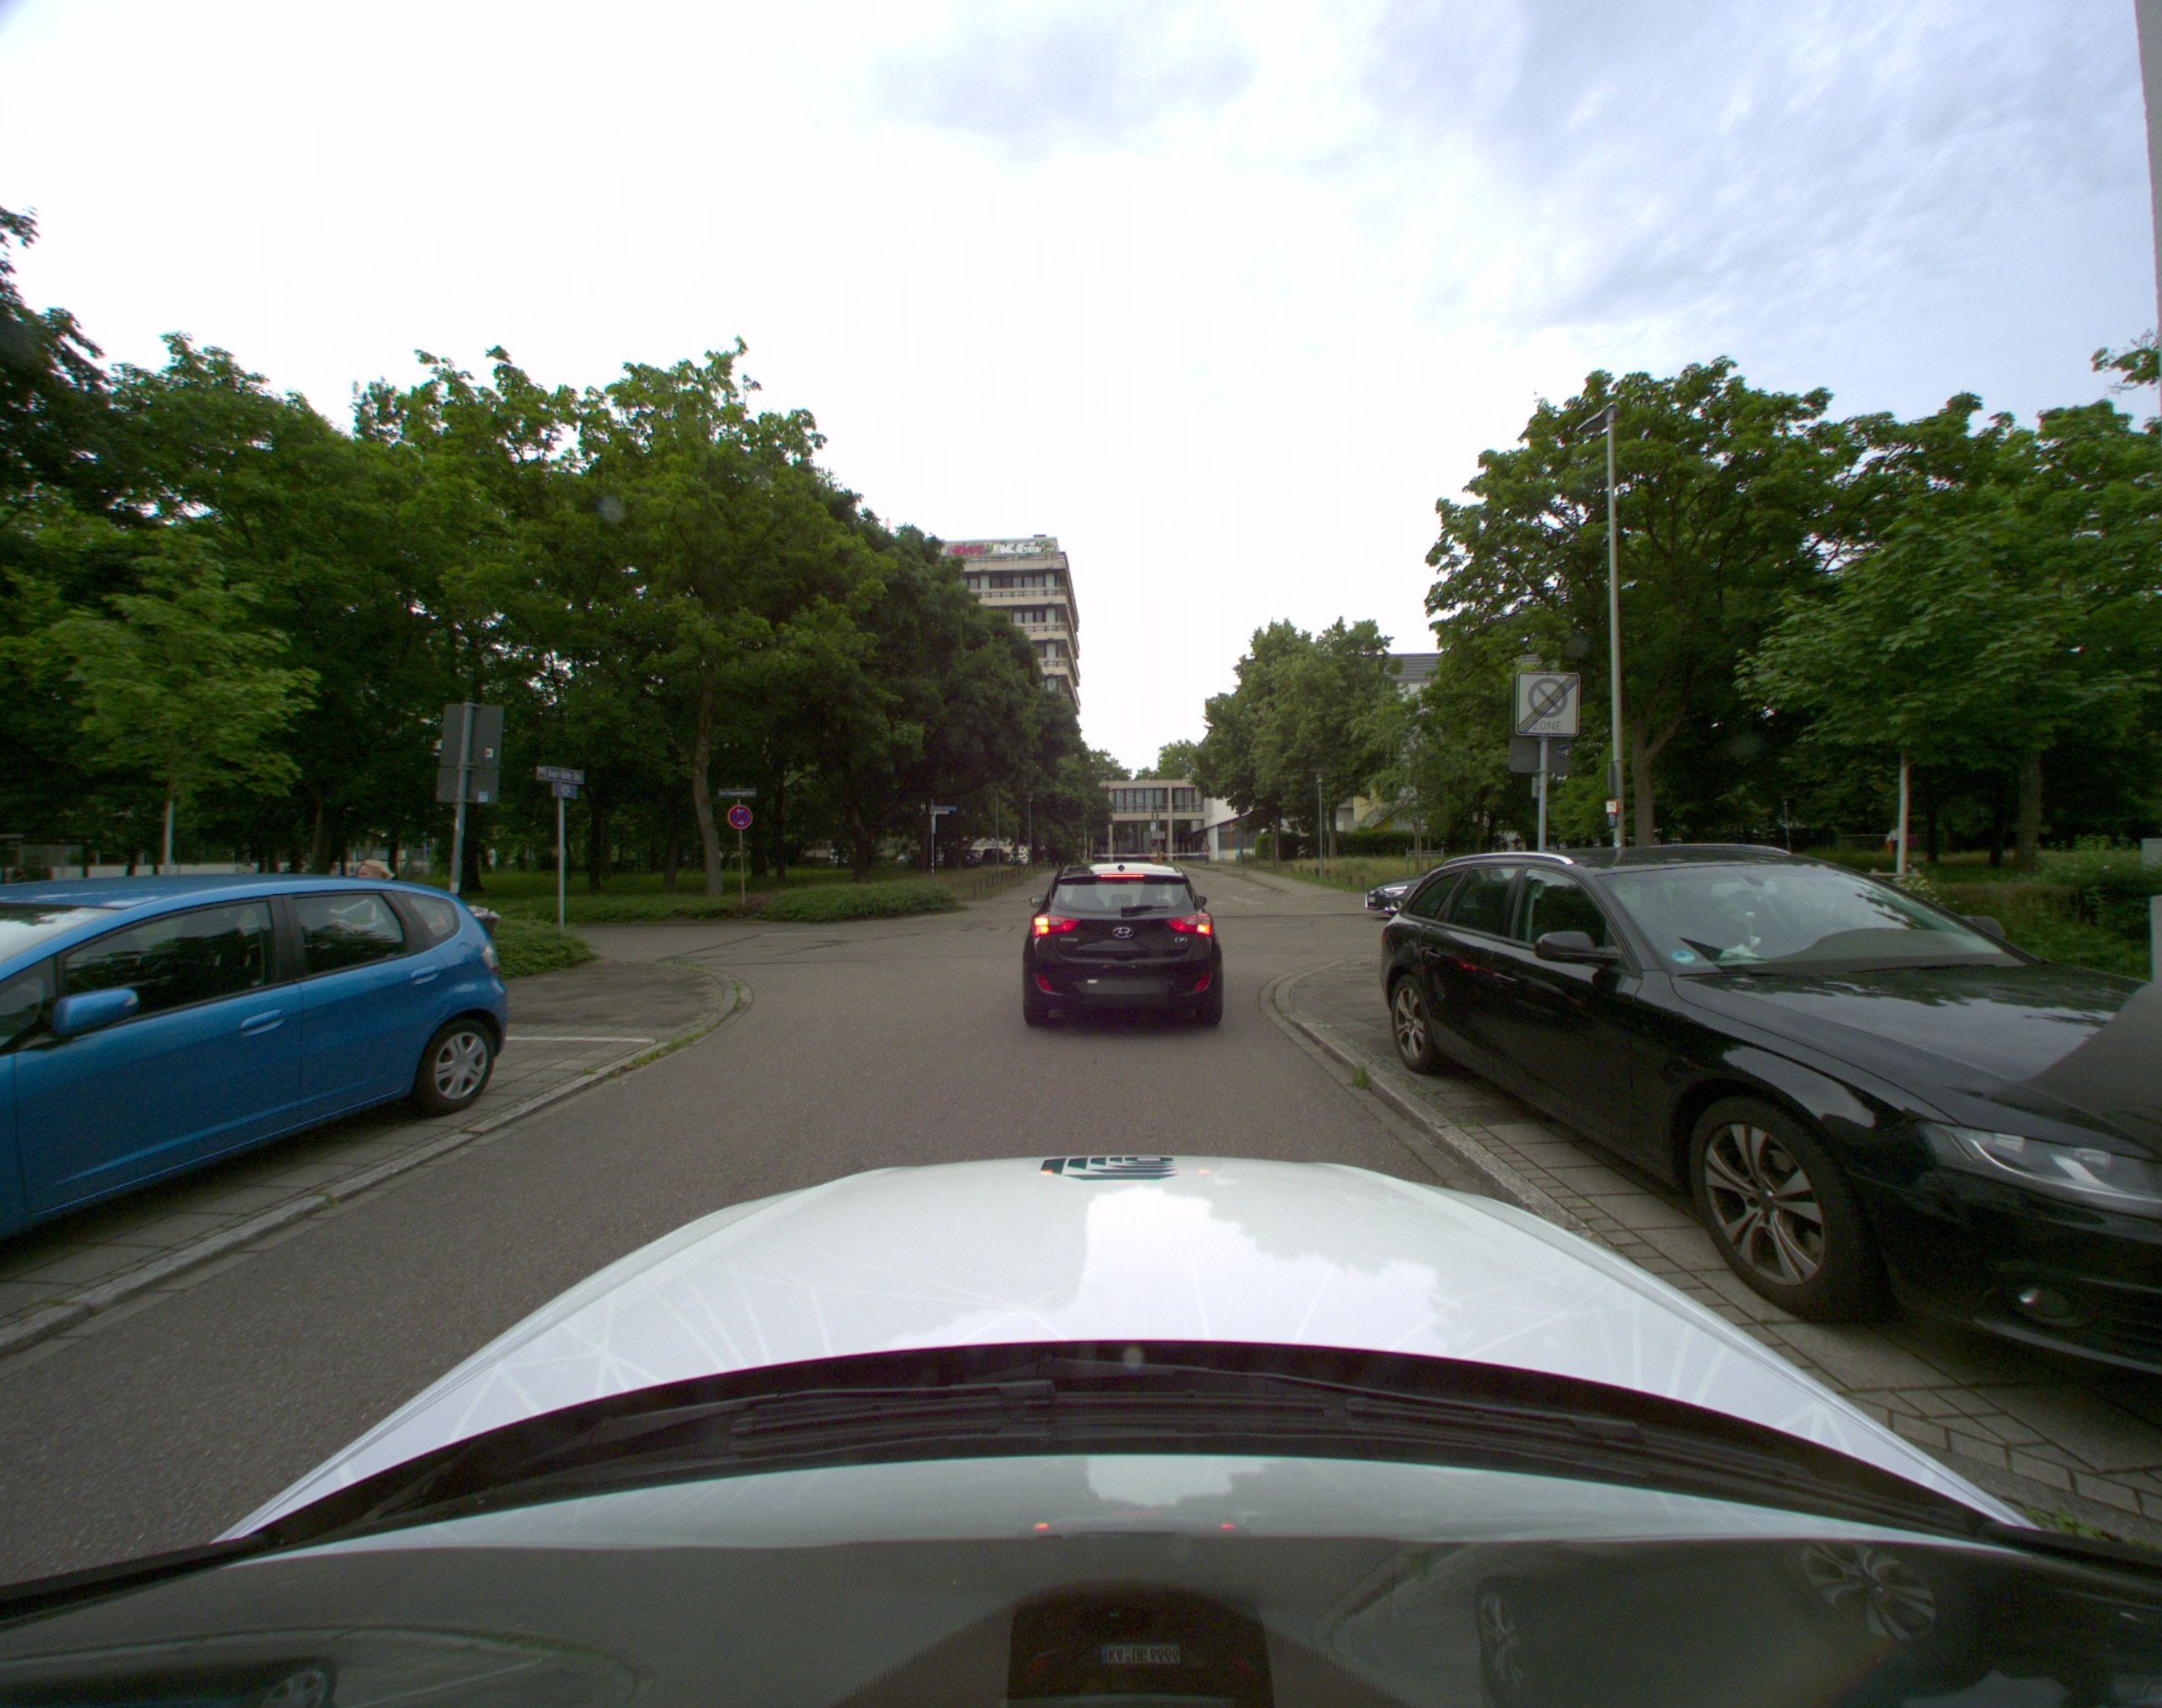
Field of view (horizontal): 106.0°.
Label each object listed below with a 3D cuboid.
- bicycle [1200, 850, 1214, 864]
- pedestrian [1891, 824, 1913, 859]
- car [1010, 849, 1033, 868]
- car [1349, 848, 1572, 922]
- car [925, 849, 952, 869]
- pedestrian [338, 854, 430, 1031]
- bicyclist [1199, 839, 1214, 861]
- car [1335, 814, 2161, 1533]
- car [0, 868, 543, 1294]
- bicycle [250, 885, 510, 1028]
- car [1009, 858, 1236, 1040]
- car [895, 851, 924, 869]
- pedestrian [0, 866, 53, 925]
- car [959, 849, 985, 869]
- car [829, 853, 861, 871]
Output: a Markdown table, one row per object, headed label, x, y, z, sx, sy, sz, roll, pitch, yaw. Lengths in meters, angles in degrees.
| label | x | y | z | sx | sy | sz | roll | pitch | yaw |
| --- | --- | --- | --- | --- | --- | --- | --- | --- | --- |
| bicycle | 9.672 | 0.234 | 62.575 | 0.863 | 1.074 | 2.143 | -1 | 0 | 3 |
| pedestrian | 42.777 | -0.633 | 42.428 | 0.567 | 1.798 | 0.545 | -1 | 0 | 11 |
| car | -5.561 | 0.435 | 76.090 | 1.988 | 1.762 | 3.996 | -1 | -1 | -2 |
| car | 8.294 | 0.648 | 18.078 | 4.091 | 1.462 | 1.870 | -1 | 0 | -1 |
| car | -13.245 | 0.531 | 75.858 | 1.988 | 1.728 | 3.996 | -1 | -2 | -2 |
| pedestrian | -6.410 | 0.777 | 7.493 | 0.442 | 1.549 | 0.571 | 1 | 0 | 42 |
| bicyclist | 9.627 | -0.280 | 62.461 | 1.013 | 1.644 | 0.924 | -1 | 0 | 2 |
| car | 2.953 | 0.620 | 4.048 | 1.854 | 1.462 | 4.724 | -2 | 0 | 0 |
| car | -4.767 | 0.853 | 3.842 | 1.724 | 1.462 | 3.958 | 1 | 0 | 1 |
| bicycle | -6.647 | 0.909 | 7.812 | 0.531 | 1.119 | 1.829 | -1 | 0 | 43 |
| car | 0.325 | 0.790 | 8.590 | 1.840 | 1.462 | 3.826 | -1 | 0 | -1 |
| car | -15.954 | 0.570 | 75.983 | 1.988 | 1.618 | 3.996 | -1 | 0 | -2 |
| pedestrian | -29.331 | 1.137 | 22.606 | 0.693 | 1.583 | 0.656 | -1 | 1 | 3 |
| car | -10.140 | 0.494 | 76.123 | 1.988 | 1.794 | 3.996 | -1 | -2 | -2 |
| car | -22.111 | 0.752 | 76.475 | 1.913 | 1.618 | 3.996 | -1 | 0 | -2 |
